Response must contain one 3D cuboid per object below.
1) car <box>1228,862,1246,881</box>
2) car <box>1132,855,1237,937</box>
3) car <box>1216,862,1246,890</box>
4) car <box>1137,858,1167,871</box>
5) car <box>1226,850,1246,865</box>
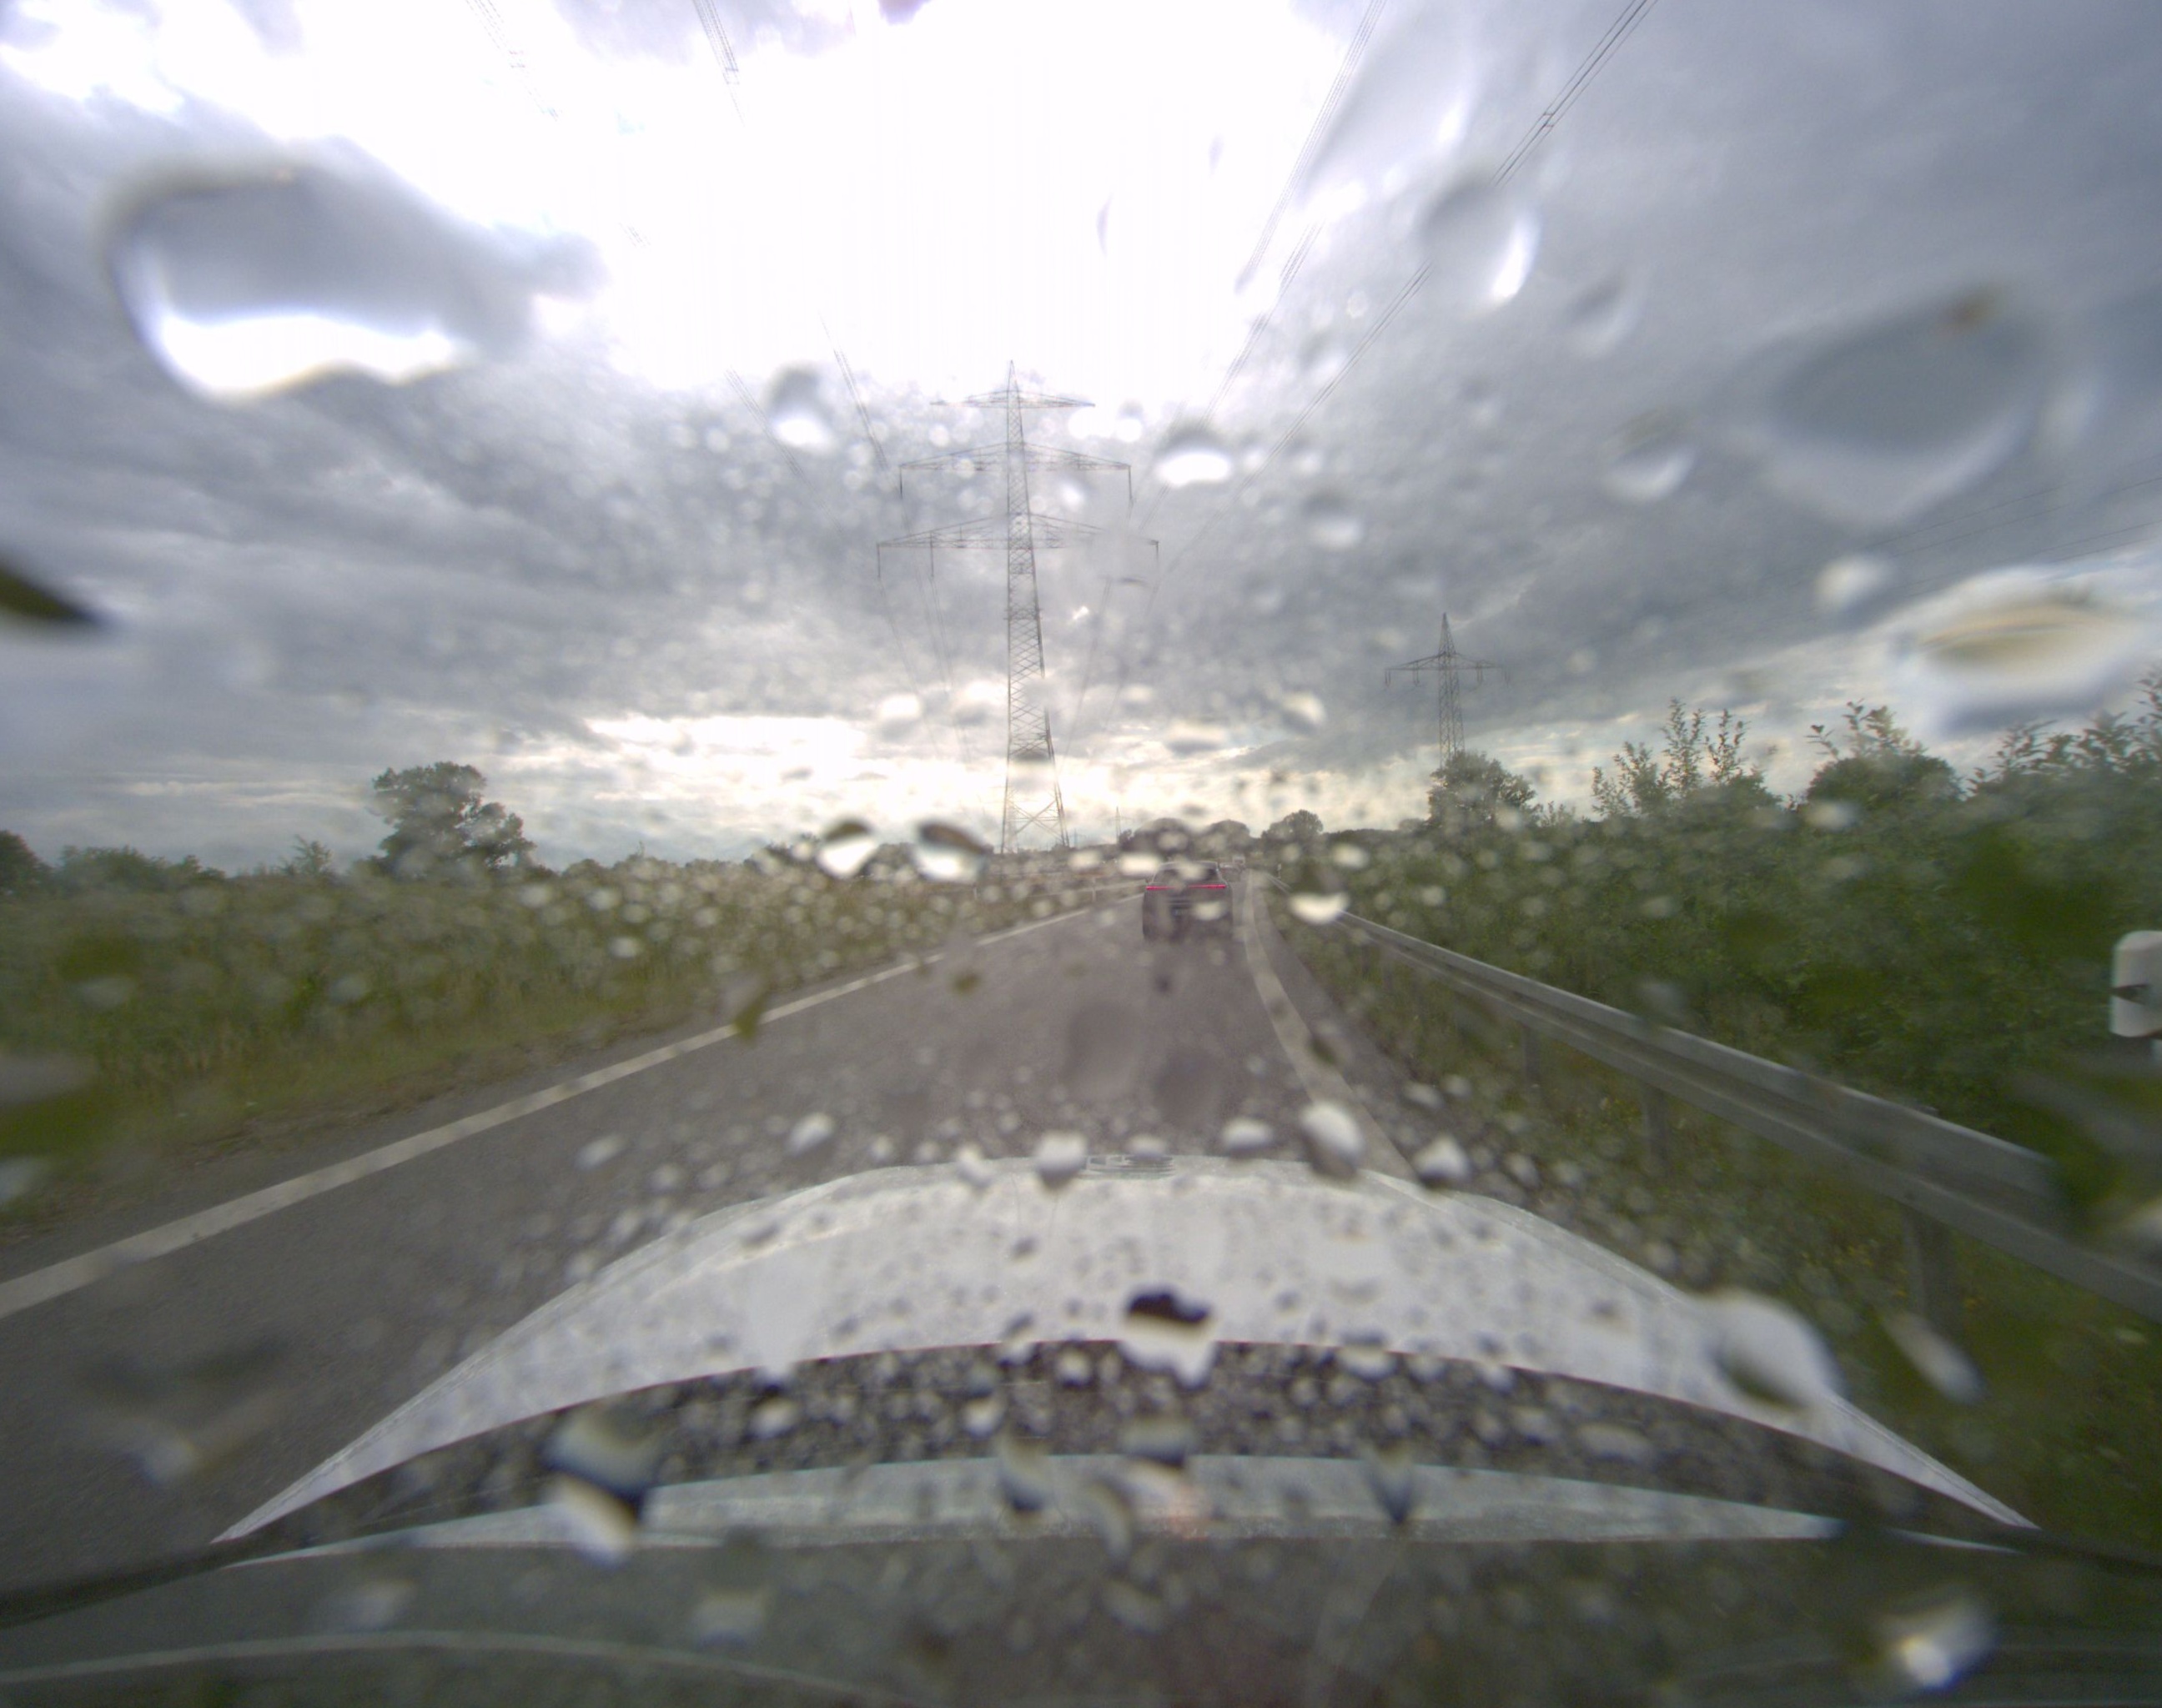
[{"bbox_3d":[21.403,2.371,111.772,2.336,2.306,5.145,-3,1,11],"label":"car"},{"bbox_3d":[2.291,0.826,17.782,1.982,1.566,4.158,-1,0,8],"label":"car"},{"bbox_3d":[11.852,1.683,64.675,2.108,2.018,5.548,-3,-1,9],"label":"car"},{"bbox_3d":[21.332,3.236,245.966,3.414,3.611,8.932,-2,-2,-45],"label":"car"},{"bbox_3d":[34.742,0.819,182.957,3.125,2.951,7.210,-3,1,1],"label":"car"}]
